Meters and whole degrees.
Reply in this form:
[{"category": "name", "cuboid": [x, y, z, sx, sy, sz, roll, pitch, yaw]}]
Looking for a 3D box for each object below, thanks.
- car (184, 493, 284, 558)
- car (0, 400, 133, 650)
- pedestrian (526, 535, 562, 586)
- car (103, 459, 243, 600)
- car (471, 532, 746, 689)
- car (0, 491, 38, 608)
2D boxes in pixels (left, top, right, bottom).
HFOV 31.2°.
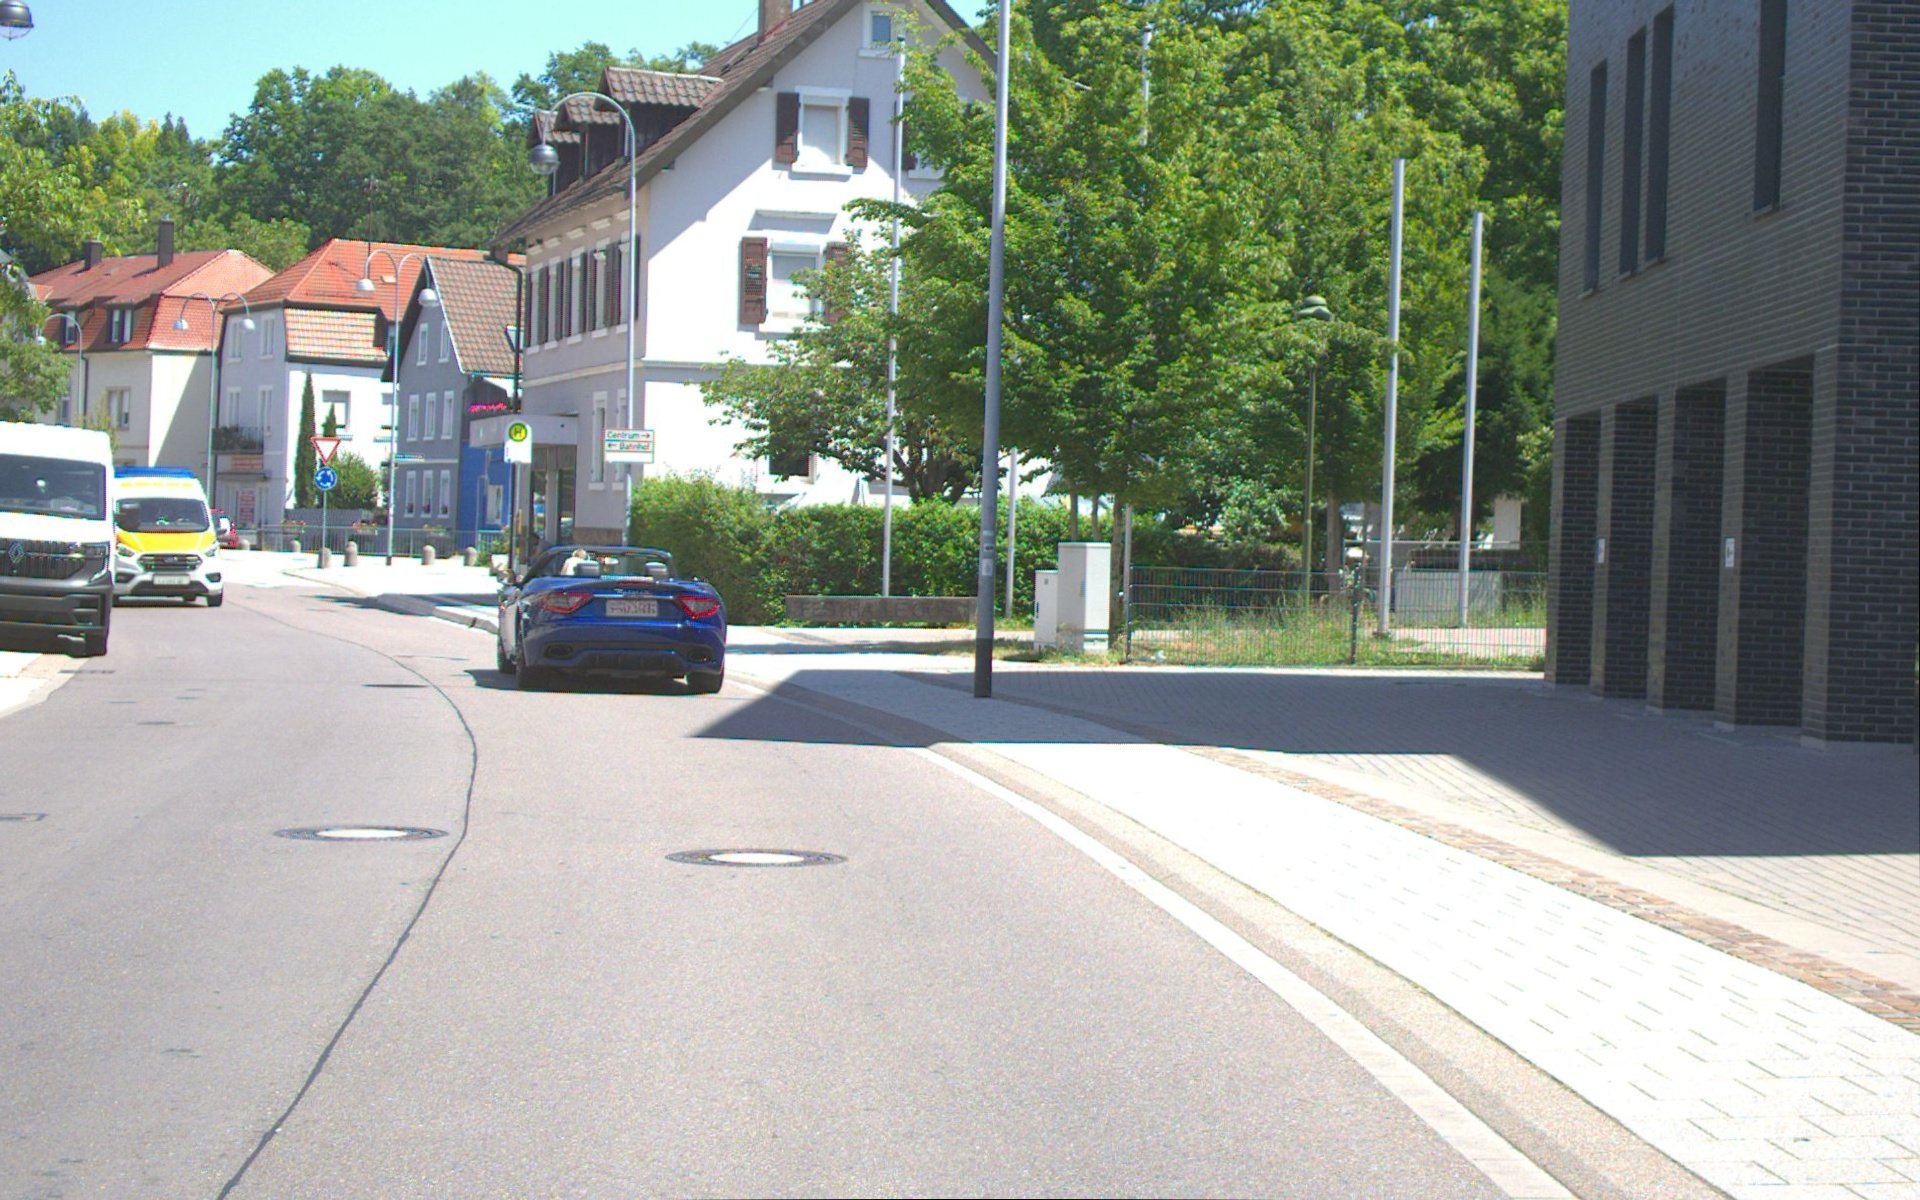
[{"category": "car", "cuboid": [-23.654, -2.437, 111.991, 1.993, 2.007, 4.001, 2, 1, -30]}, {"category": "car", "cuboid": [-10.323, -0.854, 37.971, 2.091, 2.489, 5.505, 4, 0, -14]}, {"category": "pedestrian", "cuboid": [-8.337, -0.787, 68.874, 0.590, 0.996, 0.724, 0, 1, -18]}, {"category": "car", "cuboid": [-13.903, -1.251, 60.514, 2.155, 2.354, 5.249, 1, 1, -15]}, {"category": "car", "cuboid": [-3.429, 0.058, 32.822, 1.910, 1.356, 4.287, 1, 1, -15]}, {"category": "car", "cuboid": [-13.314, -0.708, 46.478, 1.559, 1.515, 3.517, 3, 0, -15]}]
